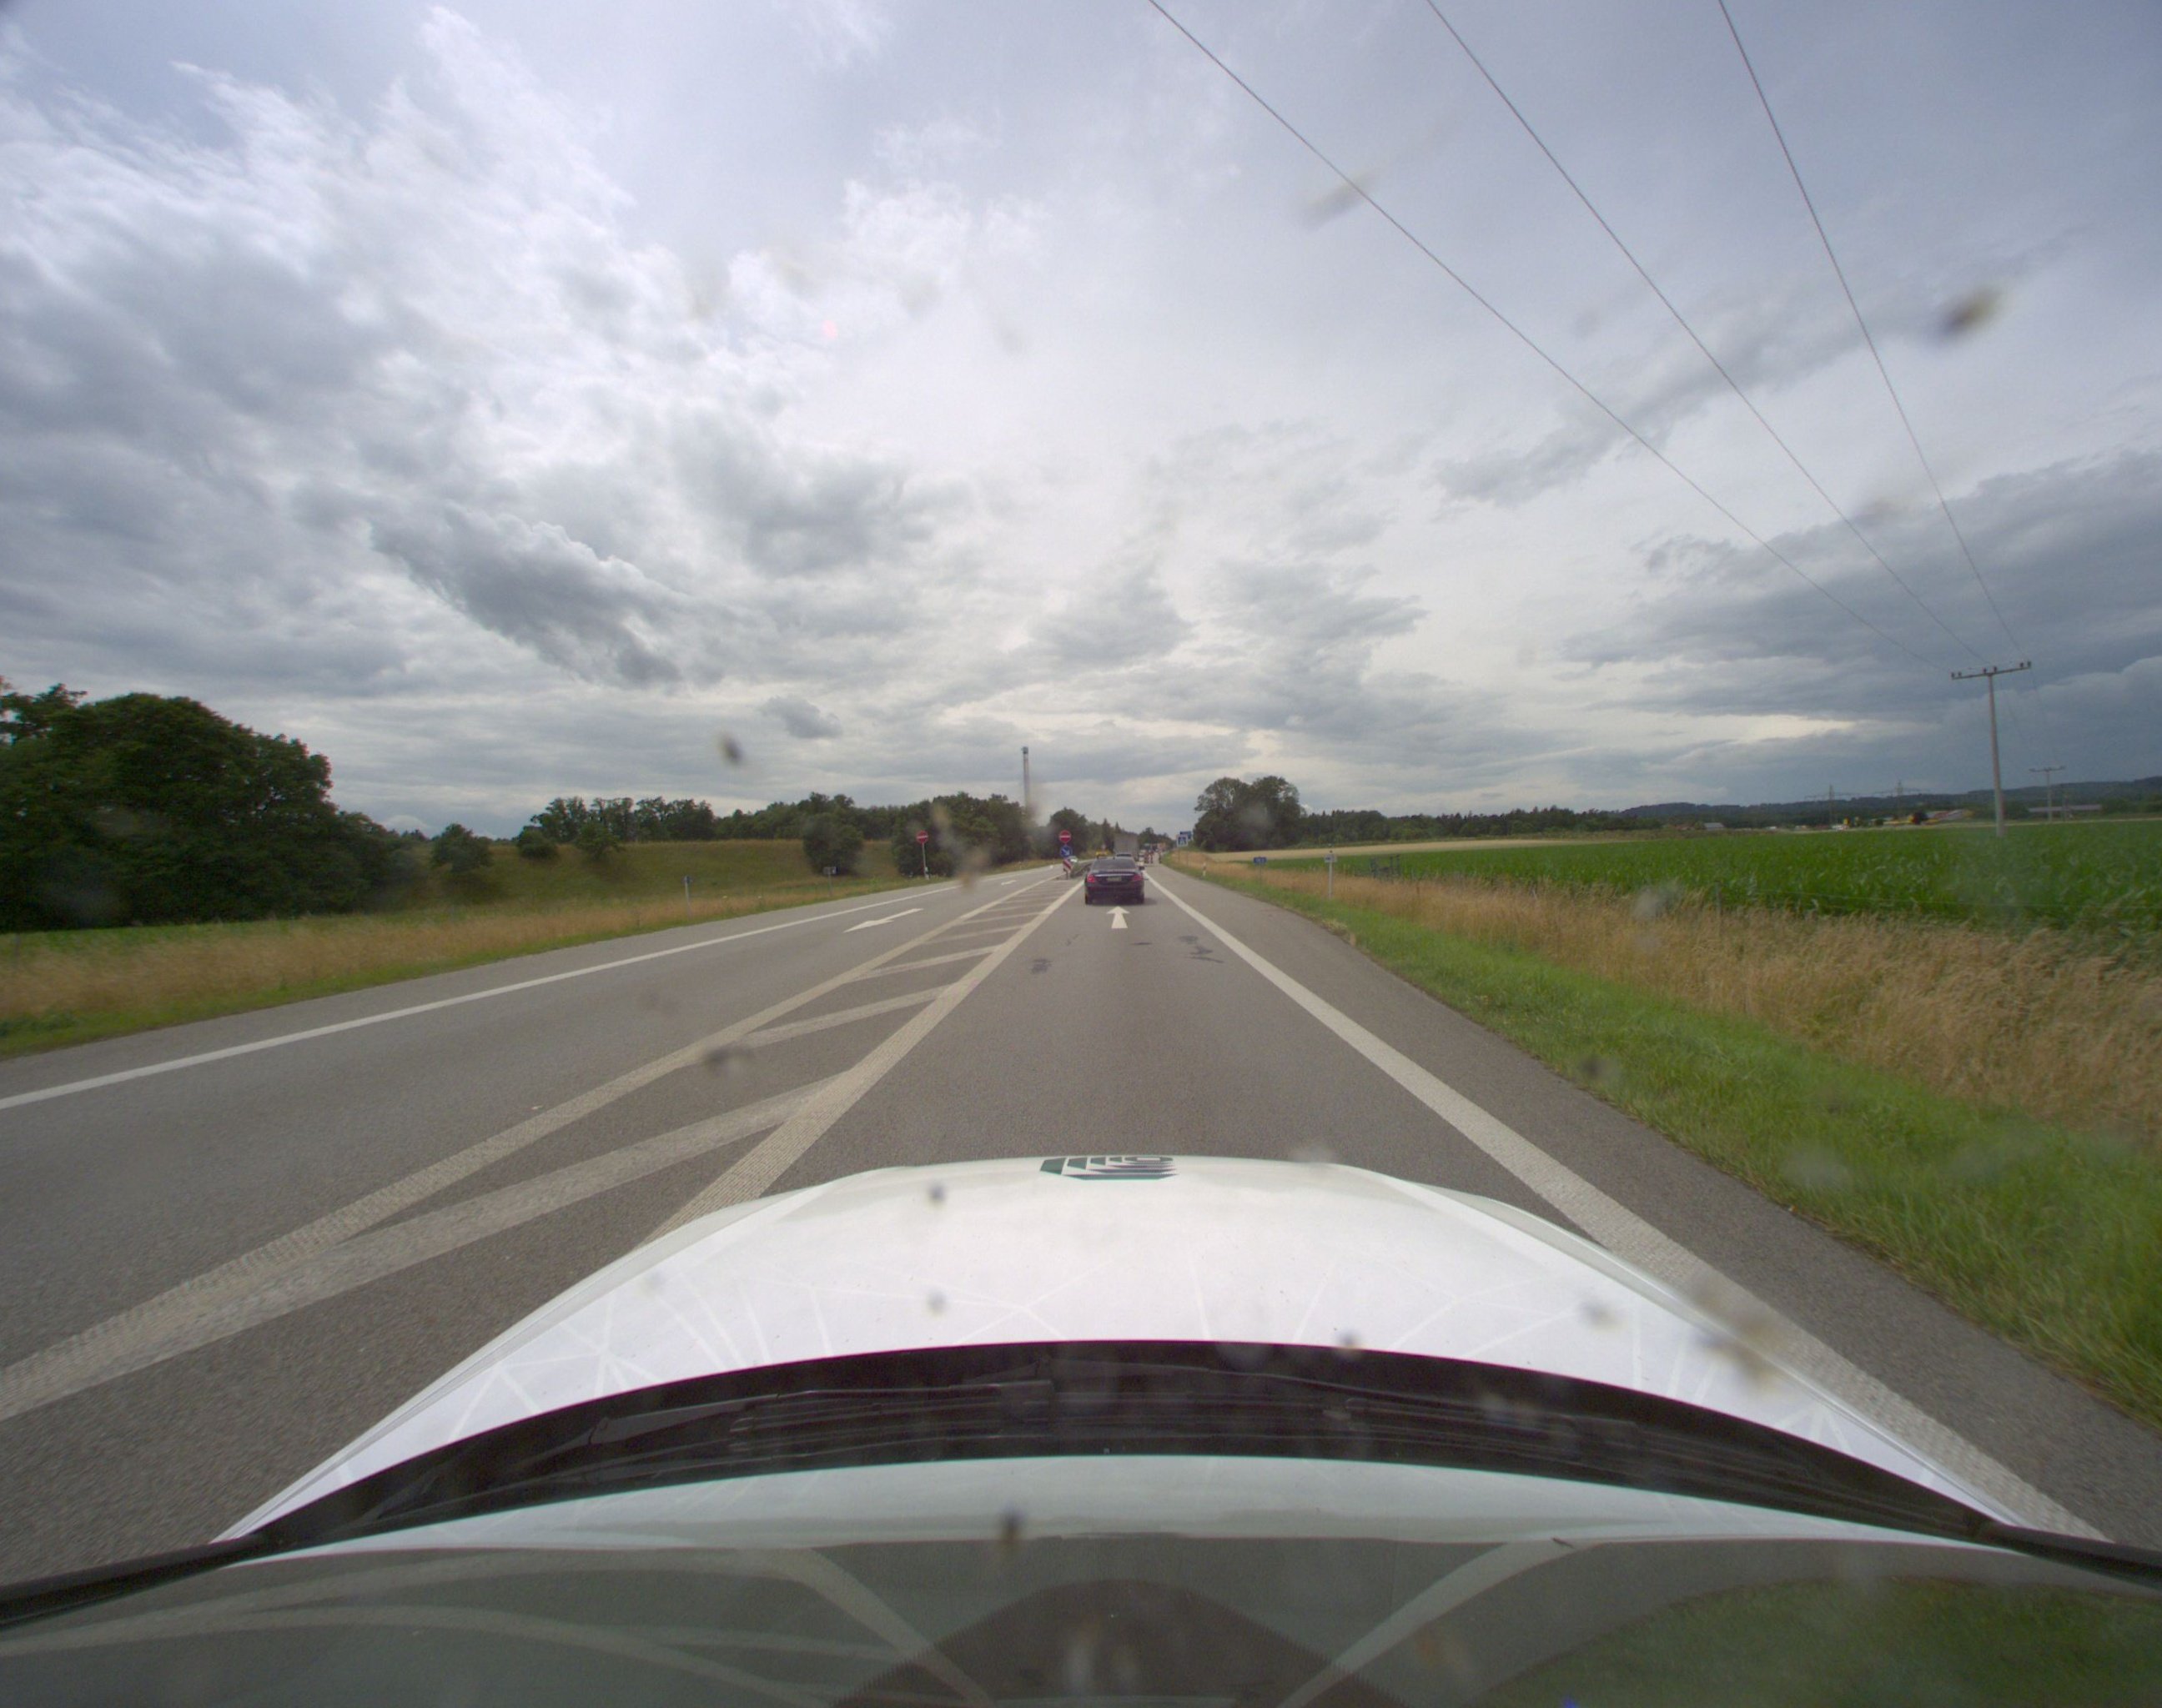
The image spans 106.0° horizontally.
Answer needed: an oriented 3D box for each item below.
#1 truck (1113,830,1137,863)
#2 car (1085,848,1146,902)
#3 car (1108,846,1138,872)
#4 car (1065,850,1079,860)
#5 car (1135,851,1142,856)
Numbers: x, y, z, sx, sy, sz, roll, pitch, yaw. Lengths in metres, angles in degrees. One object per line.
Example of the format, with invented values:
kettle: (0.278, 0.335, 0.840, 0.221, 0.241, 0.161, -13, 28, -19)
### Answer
truck: (5.008, -0.804, 92.102, 2.575, 3.524, 4.817, -1, -1, 4)
car: (1.134, 0.640, 25.933, 1.788, 1.560, 4.003, -1, 0, 3)
car: (3.387, 0.376, 66.091, 1.989, 2.014, 3.994, -1, 0, -4)
car: (-1.399, 0.165, 125.683, 1.810, 1.632, 4.605, -1, 0, 3)
car: (14.498, -0.132, 205.936, 1.643, 1.395, 3.706, -1, 0, 1)
